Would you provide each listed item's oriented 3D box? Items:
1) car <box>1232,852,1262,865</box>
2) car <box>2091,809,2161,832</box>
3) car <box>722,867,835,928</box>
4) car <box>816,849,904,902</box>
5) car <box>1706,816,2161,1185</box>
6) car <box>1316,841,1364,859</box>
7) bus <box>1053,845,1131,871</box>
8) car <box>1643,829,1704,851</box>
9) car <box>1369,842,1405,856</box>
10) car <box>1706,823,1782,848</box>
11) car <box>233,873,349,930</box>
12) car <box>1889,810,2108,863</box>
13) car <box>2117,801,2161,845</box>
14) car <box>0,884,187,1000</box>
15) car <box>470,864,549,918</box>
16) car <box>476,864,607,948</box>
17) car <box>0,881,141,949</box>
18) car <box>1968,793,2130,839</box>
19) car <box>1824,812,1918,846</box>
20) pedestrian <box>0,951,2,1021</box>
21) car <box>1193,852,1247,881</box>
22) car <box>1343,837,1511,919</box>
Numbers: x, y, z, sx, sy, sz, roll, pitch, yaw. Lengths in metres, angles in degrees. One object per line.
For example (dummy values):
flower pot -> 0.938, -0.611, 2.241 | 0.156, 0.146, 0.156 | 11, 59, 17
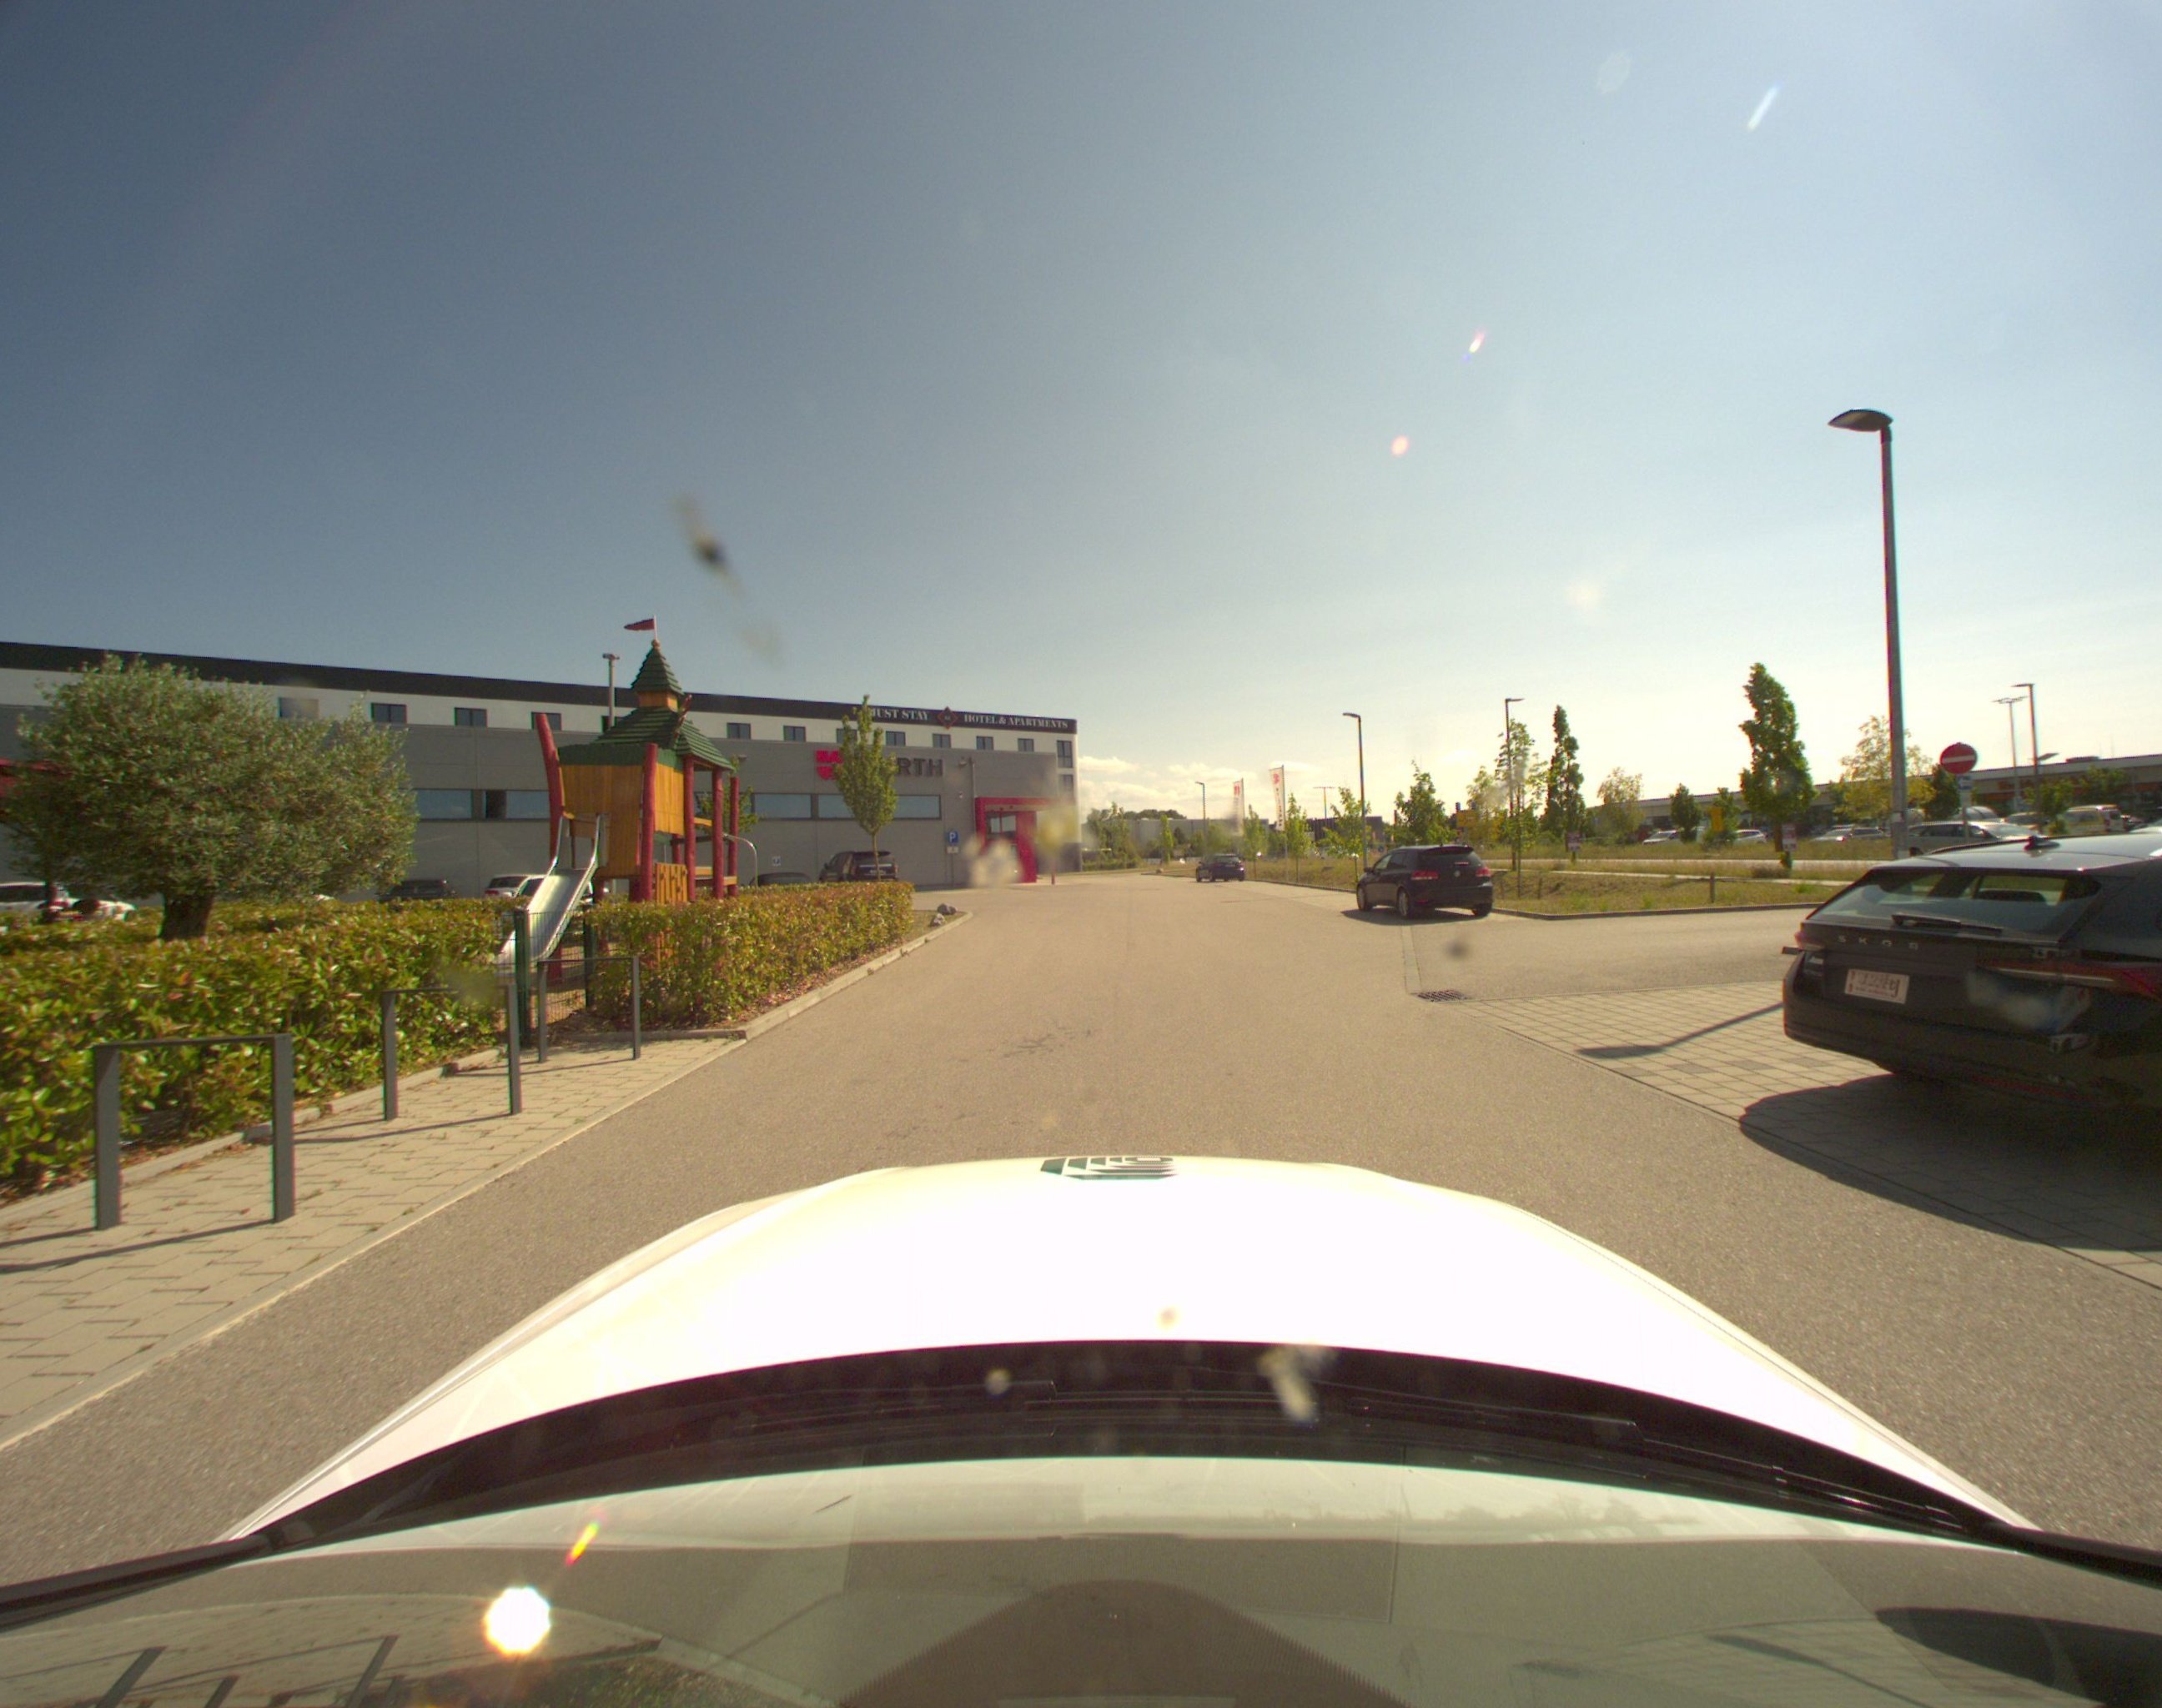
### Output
car -> 19.172, 0.528, 94.199 | 1.654, 1.385, 3.484 | -2, 0, -24
car -> 69.022, -2.206, 53.249 | 1.431, 1.400, 3.464 | -2, 0, -18
car -> -8.056, 1.053, 21.446 | 1.875, 1.362, 4.331 | -2, 0, -33
car -> -8.910, 0.825, 32.513 | 2.085, 1.880, 4.830 | -2, 0, -32
car -> 6.301, 0.534, 4.416 | 4.429, 1.487, 1.876 | -2, 0, -2
car -> 22.086, -0.332, 69.528 | 1.879, 1.483, 3.973 | -2, 0, -20
bus -> 1.602, 0.573, 120.329 | 11.157, 3.557, 2.580 | -2, 0, 6
car -> 47.806, -1.143, 65.722 | 3.649, 1.618, 1.839 | -2, 0, -3
car -> 34.482, -0.551, 91.745 | 3.723, 1.395, 1.576 | -2, 0, -26
car -> 49.855, -1.372, 61.273 | 4.408, 1.726, 1.994 | -2, 0, -9
car -> -23.822, 1.359, 24.718 | 1.744, 1.487, 3.910 | -2, 0, -33
car -> 29.384, -0.526, 26.352 | 1.867, 1.483, 4.601 | -2, 0, -1
car -> 52.689, -1.549, 38.842 | 5.167, 2.013, 1.992 | -2, 0, -13
car -> -13.881, 1.111, 10.377 | 1.647, 1.308, 3.817 | -2, 0, -19
car -> -19.264, 1.186, 27.619 | 1.961, 1.586, 4.331 | -2, 0, -33
car -> -11.713, 1.036, 17.980 | 1.959, 1.530, 4.336 | -2, 0, -28
car -> -27.582, 1.593, 22.025 | 1.744, 1.567, 3.910 | -2, 0, -33
car -> 52.509, -2.034, 44.246 | 6.289, 2.237, 2.808 | -2, 0, -9
car -> 52.203, -1.638, 53.834 | 5.064, 2.013, 1.992 | -2, 0, -13
pedestrian -> -10.528, 0.768, 7.314 | 0.789, 1.687, 0.754 | -2, 0, -36
car -> 7.136, 0.624, 42.167 | 1.697, 1.406, 3.886 | -1, 0, -8
car -> 7.397, 0.467, 17.886 | 1.830, 1.477, 4.119 | -4, 0, -1
